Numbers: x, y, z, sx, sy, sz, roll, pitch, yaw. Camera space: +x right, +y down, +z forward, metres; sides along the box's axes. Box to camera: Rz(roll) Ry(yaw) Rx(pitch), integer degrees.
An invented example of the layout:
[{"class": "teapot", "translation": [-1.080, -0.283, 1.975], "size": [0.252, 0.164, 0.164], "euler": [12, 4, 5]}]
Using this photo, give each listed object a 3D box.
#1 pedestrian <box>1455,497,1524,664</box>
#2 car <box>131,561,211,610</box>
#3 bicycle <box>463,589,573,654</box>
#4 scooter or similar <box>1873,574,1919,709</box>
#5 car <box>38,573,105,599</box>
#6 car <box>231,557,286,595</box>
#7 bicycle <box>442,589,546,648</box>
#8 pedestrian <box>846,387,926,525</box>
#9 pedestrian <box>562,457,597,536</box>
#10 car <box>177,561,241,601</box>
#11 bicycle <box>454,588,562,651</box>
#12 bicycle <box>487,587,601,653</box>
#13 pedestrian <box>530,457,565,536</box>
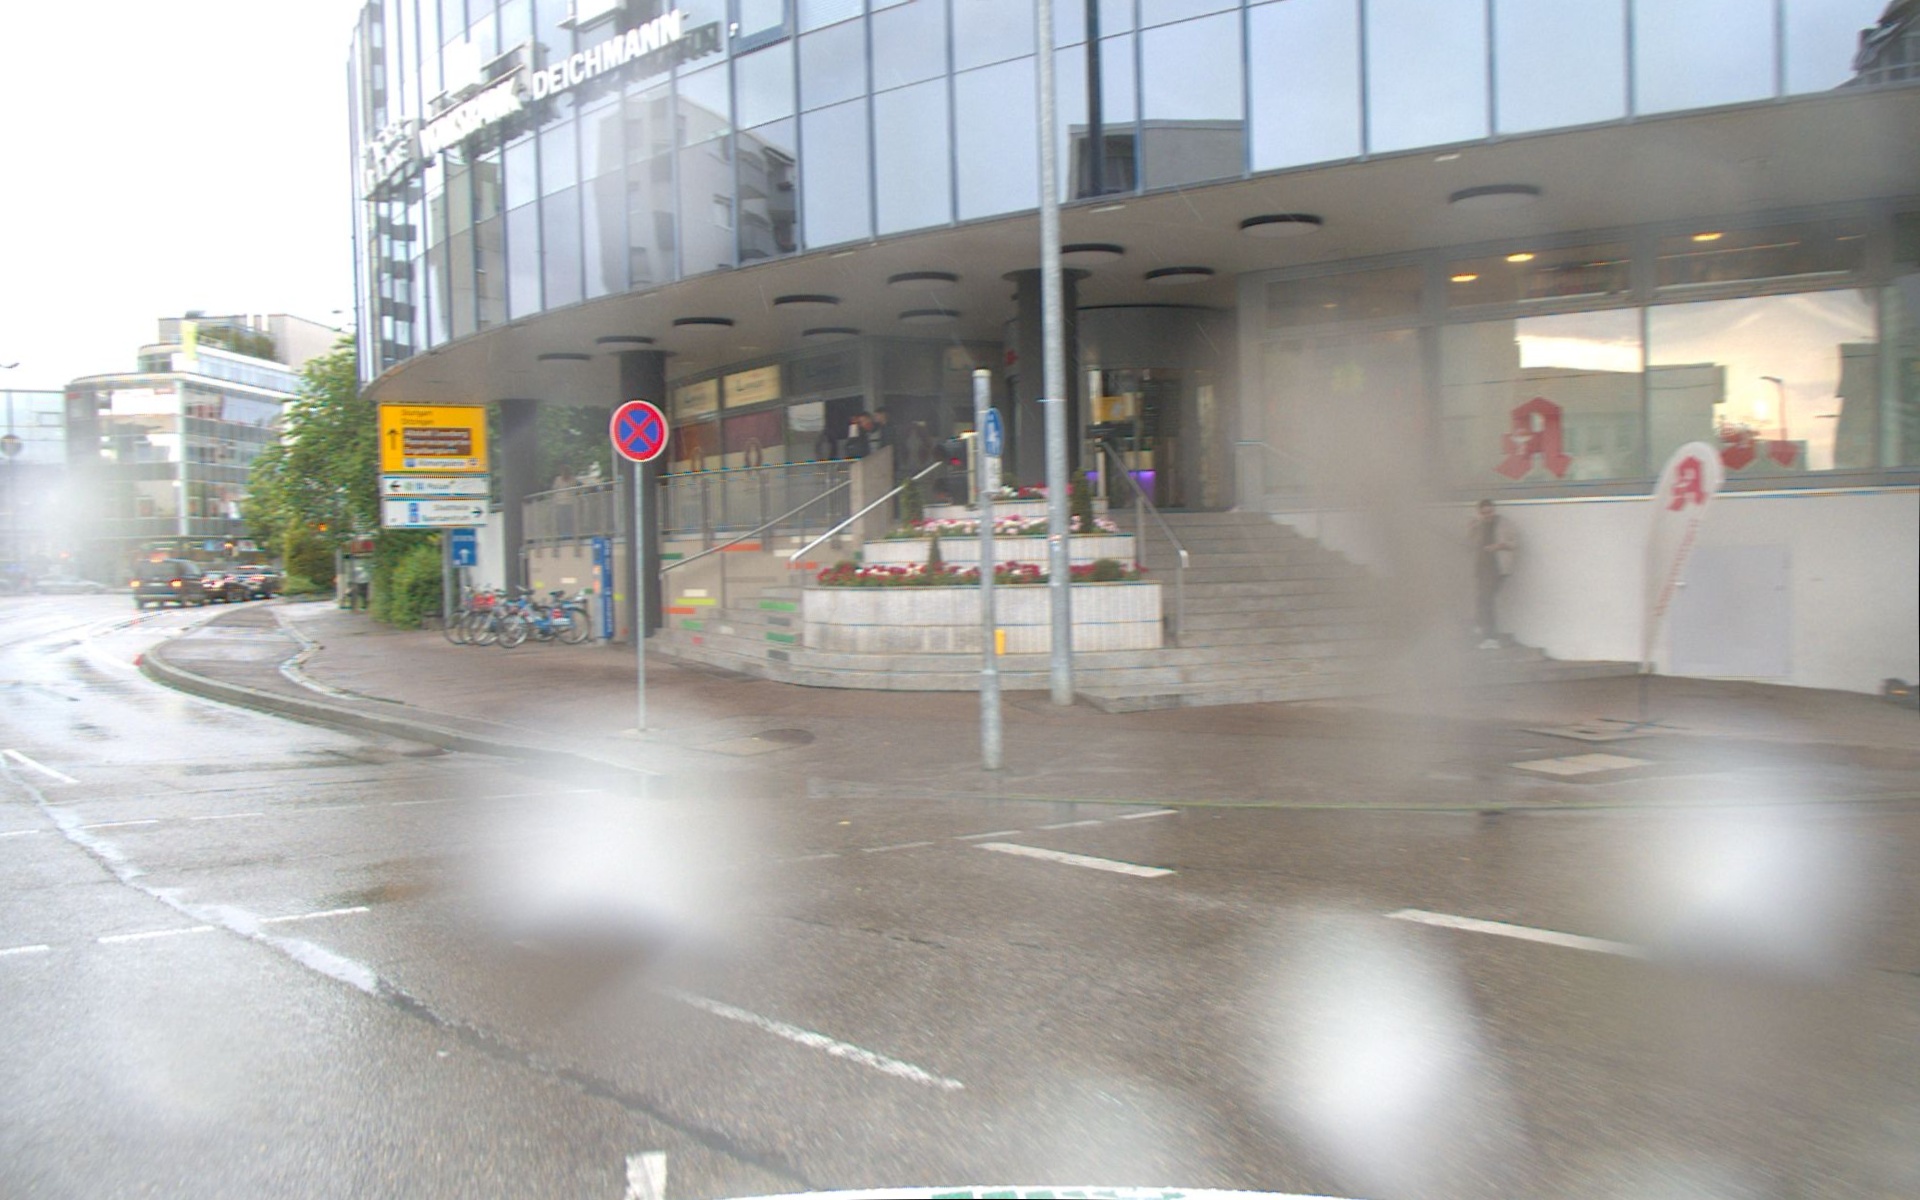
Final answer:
[{"class": "pedestrian", "translation": [6.307, -0.242, 19.700], "size": [0.644, 1.941, 0.593], "euler": [1, 2, 34]}, {"class": "car", "translation": [-32.755, -0.637, 68.779], "size": [2.007, 1.928, 4.127], "euler": [-1, 2, -12]}, {"class": "bicycle", "translation": [-8.256, 0.385, 30.948], "size": [1.830, 1.060, 0.641], "euler": [-5, 2, -30]}, {"class": "scooter or similar", "translation": [10.300, 0.440, 17.432], "size": [1.144, 1.396, 0.488], "euler": [1, 2, 28]}, {"class": "car", "translation": [-58.602, -0.943, 109.128], "size": [3.838, 1.544, 1.768], "euler": [-2, 2, -30]}, {"class": "car", "translation": [-35.008, -1.225, 82.619], "size": [1.877, 1.754, 3.797], "euler": [-1, 2, -13]}, {"class": "bicycle", "translation": [-9.052, 0.353, 32.156], "size": [1.827, 0.967, 0.531], "euler": [-5, 4, -27]}, {"class": "pedestrian", "translation": [-1.130, -2.184, 25.344], "size": [0.943, 2.048, 0.821], "euler": [-2, 2, -39]}, {"class": "pedestrian", "translation": [-8.485, -2.292, 36.875], "size": [0.644, 1.743, 0.595], "euler": [-1, 2, -25]}, {"class": "car", "translation": [-34.421, -0.887, 75.887], "size": [1.854, 1.701, 3.988], "euler": [-1, 2, -13]}, {"class": "bicycle", "translation": [-8.629, 0.365, 31.601], "size": [1.830, 1.051, 0.622], "euler": [-5, 2, -30]}, {"class": "bicycle", "translation": [-7.425, 0.351, 29.514], "size": [1.830, 1.040, 0.626], "euler": [-4, 2, -30]}, {"class": "pedestrian", "translation": [-9.149, -2.283, 36.653], "size": [0.644, 1.743, 0.595], "euler": [-1, 2, -25]}]
